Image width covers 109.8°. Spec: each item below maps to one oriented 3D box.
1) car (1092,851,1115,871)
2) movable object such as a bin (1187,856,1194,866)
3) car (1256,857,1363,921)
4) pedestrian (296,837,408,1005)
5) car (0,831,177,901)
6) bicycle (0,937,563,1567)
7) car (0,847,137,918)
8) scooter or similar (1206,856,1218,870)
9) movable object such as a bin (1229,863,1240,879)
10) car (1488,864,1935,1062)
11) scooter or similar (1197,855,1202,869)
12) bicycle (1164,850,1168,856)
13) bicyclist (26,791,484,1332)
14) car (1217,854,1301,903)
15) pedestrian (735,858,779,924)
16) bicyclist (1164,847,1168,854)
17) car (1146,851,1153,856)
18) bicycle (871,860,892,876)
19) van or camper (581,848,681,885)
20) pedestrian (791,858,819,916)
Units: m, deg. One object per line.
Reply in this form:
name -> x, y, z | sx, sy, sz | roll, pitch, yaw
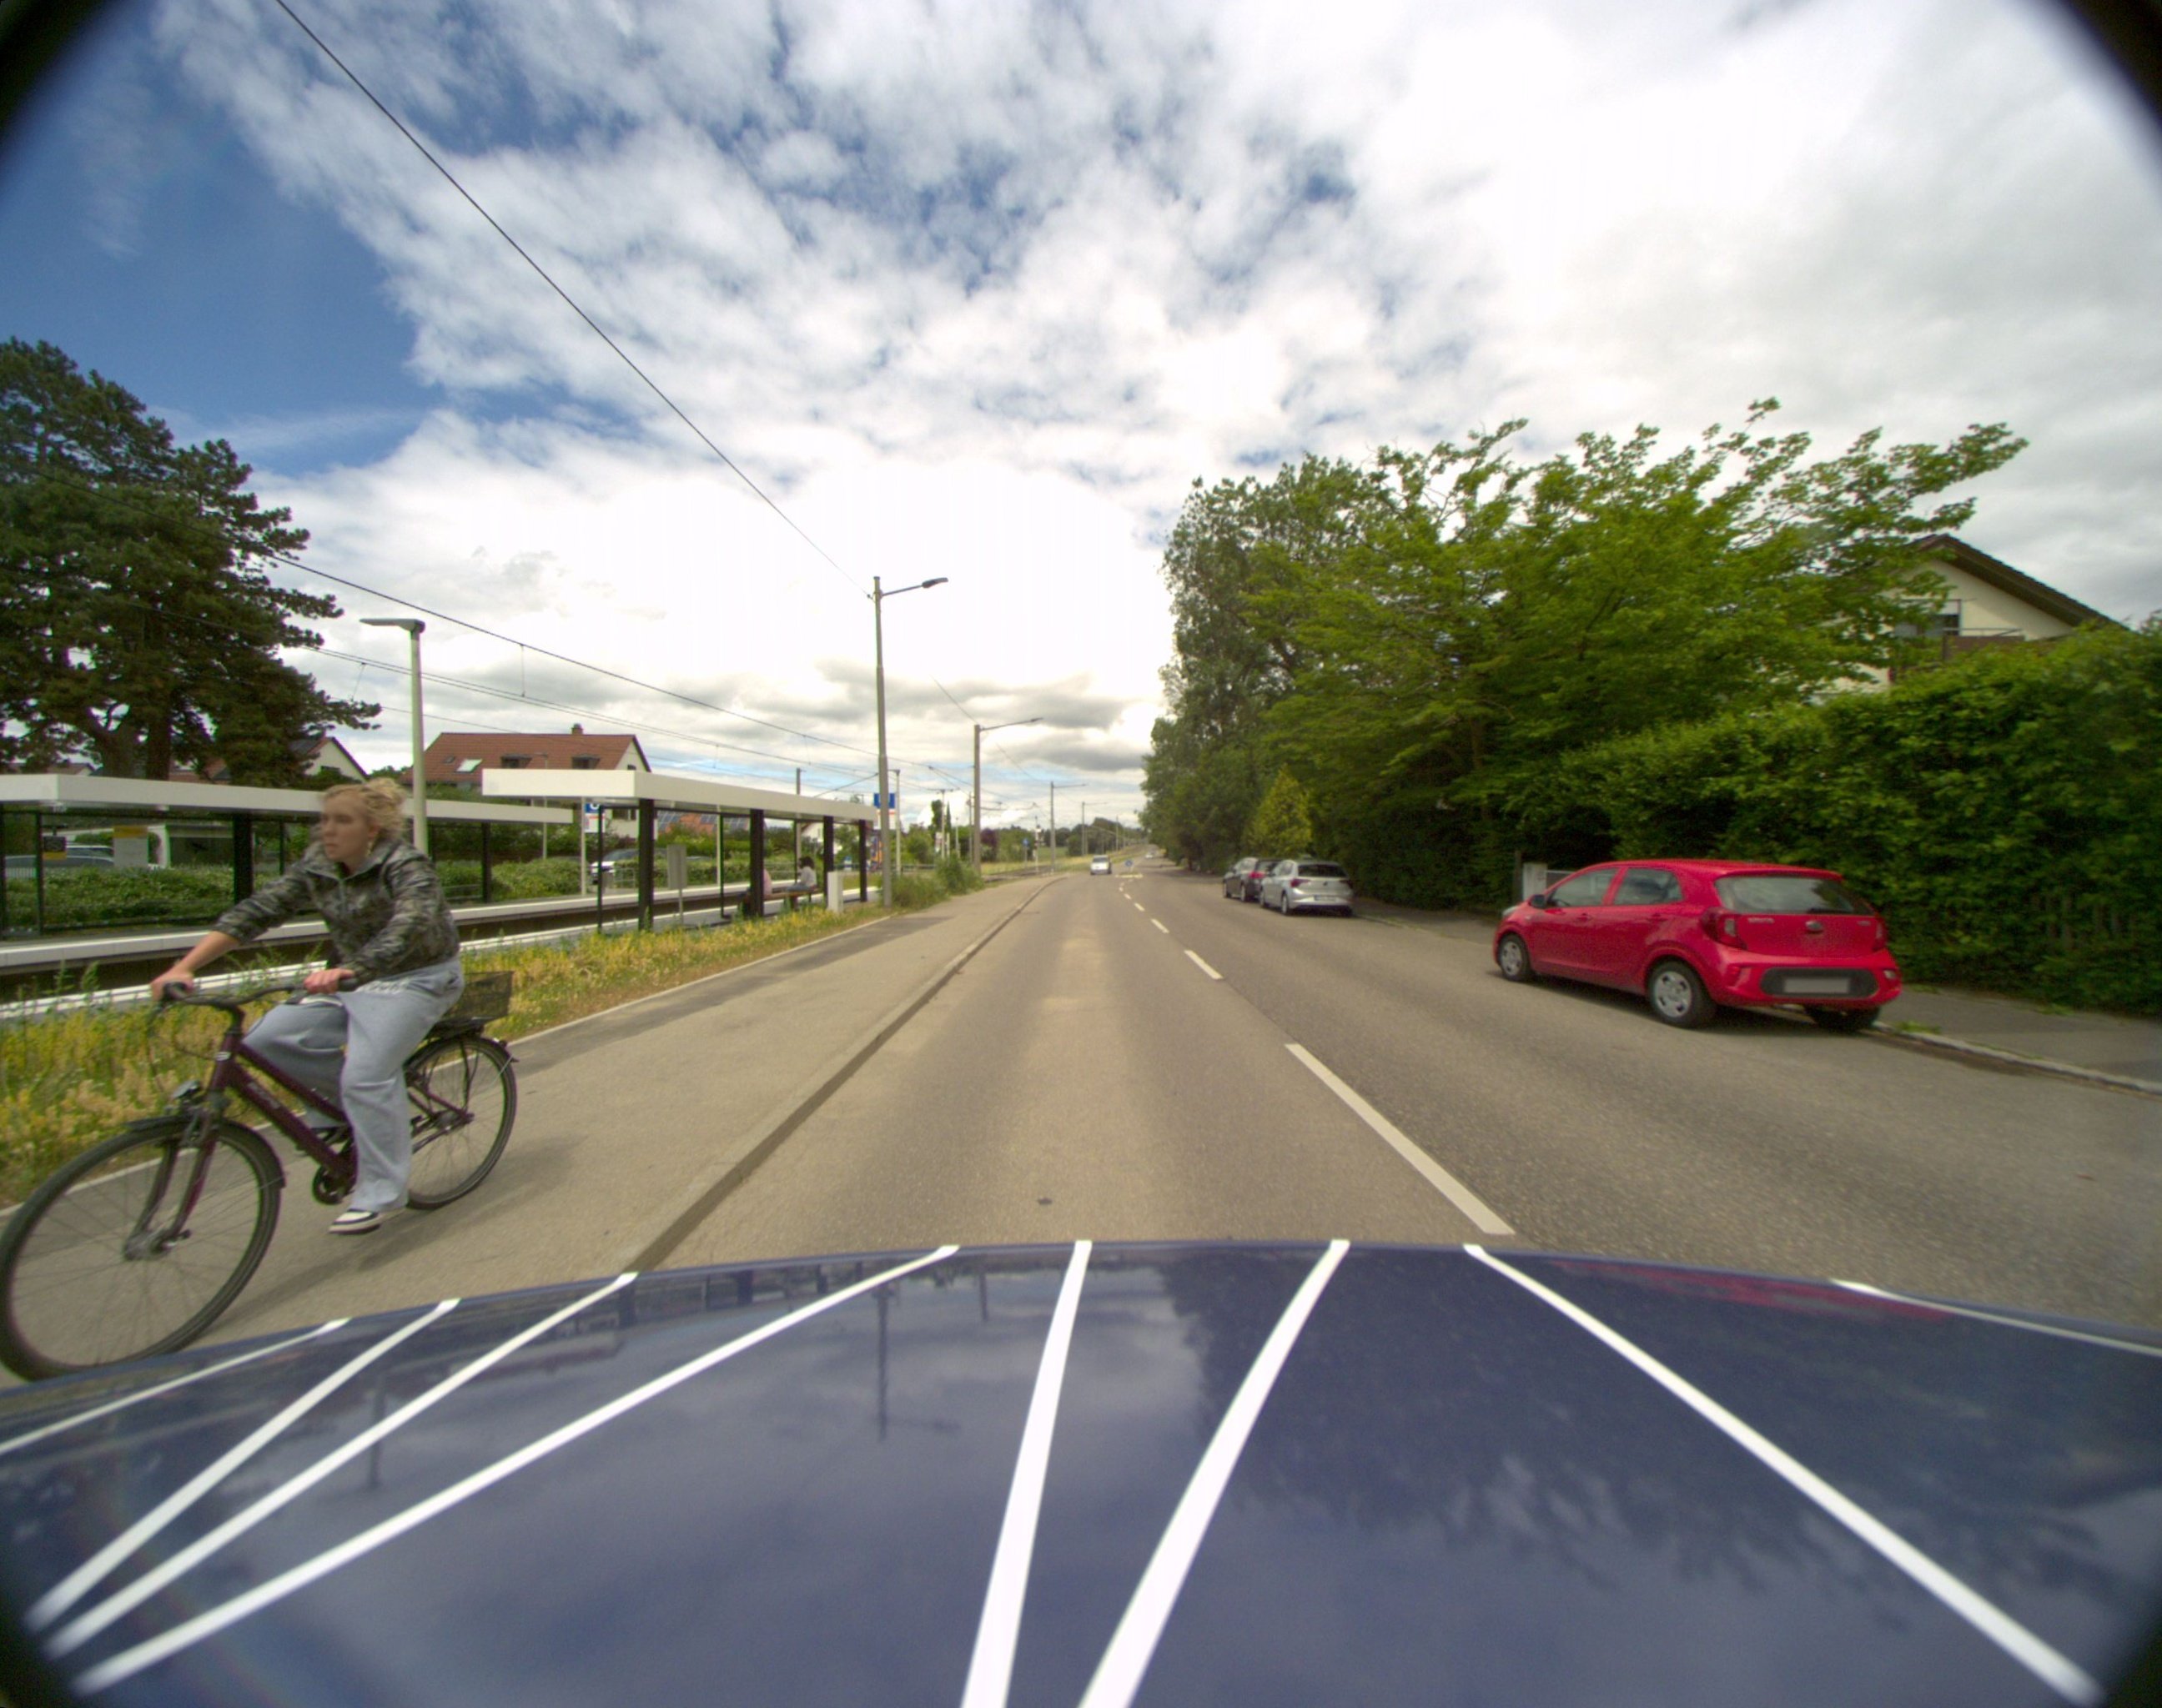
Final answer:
car -> 1.936, 0.604, 65.137 | 1.642, 1.510, 3.870 | -2, 1, 6
movable object such as a bin -> 10.518, 0.692, 72.989 | 0.514, 0.939, 0.569 | -2, 1, 5
car -> 6.039, 0.857, 20.539 | 1.741, 1.496, 3.963 | 1, 0, 1
pedestrian -> -7.828, 0.687, 8.171 | 0.638, 1.715, 0.656 | -1, 1, 29
car -> -30.728, 0.335, 23.099 | 4.338, 1.932, 1.746 | 2, 1, 0
bicycle -> -2.761, 1.019, 2.592 | 0.547, 1.239, 2.055 | -1, 0, 0
car -> -26.044, 0.689, 18.213 | 1.780, 1.652, 4.000 | -1, 0, 0
scooter or similar -> 10.222, 0.691, 59.278 | 0.479, 1.074, 1.212 | -2, 1, -13
movable object such as a bin -> 9.177, 0.991, 45.423 | 0.464, 0.925, 0.429 | -5, 2, -11
car -> 5.920, 0.886, 7.753 | 1.593, 1.496, 3.514 | 1, 0, -1
scooter or similar -> 10.533, 0.699, 67.530 | 0.409, 1.192, 1.640 | -1, 1, 7
bicycle -> 18.213, -0.273, 163.546 | 0.756, 1.219, 2.309 | 1, 1, 5
bicyclist -> -2.760, 0.622, 2.647 | 0.719, 1.602, 0.757 | -1, 0, 0
car -> 5.985, 0.756, 26.061 | 1.741, 1.496, 4.477 | 1, 0, -1
pedestrian -> -7.040, 0.790, 16.531 | 0.583, 1.372, 0.740 | -1, 0, 2
bicyclist -> 18.220, -0.687, 163.516 | 0.780, 1.540, 0.870 | 0, 1, 5
car -> 17.073, -0.135, 190.250 | 1.697, 1.422, 3.787 | -1, 0, 4
bicycle -> -16.107, 1.148, 61.398 | 0.539, 1.039, 2.543 | 18, -2, 7
van or camper -> -23.833, 0.588, 40.502 | 1.909, 1.815, 5.049 | -1, 1, 7
pedestrian -> -6.720, 0.788, 18.469 | 0.486, 1.337, 0.397 | 6, 7, 29
